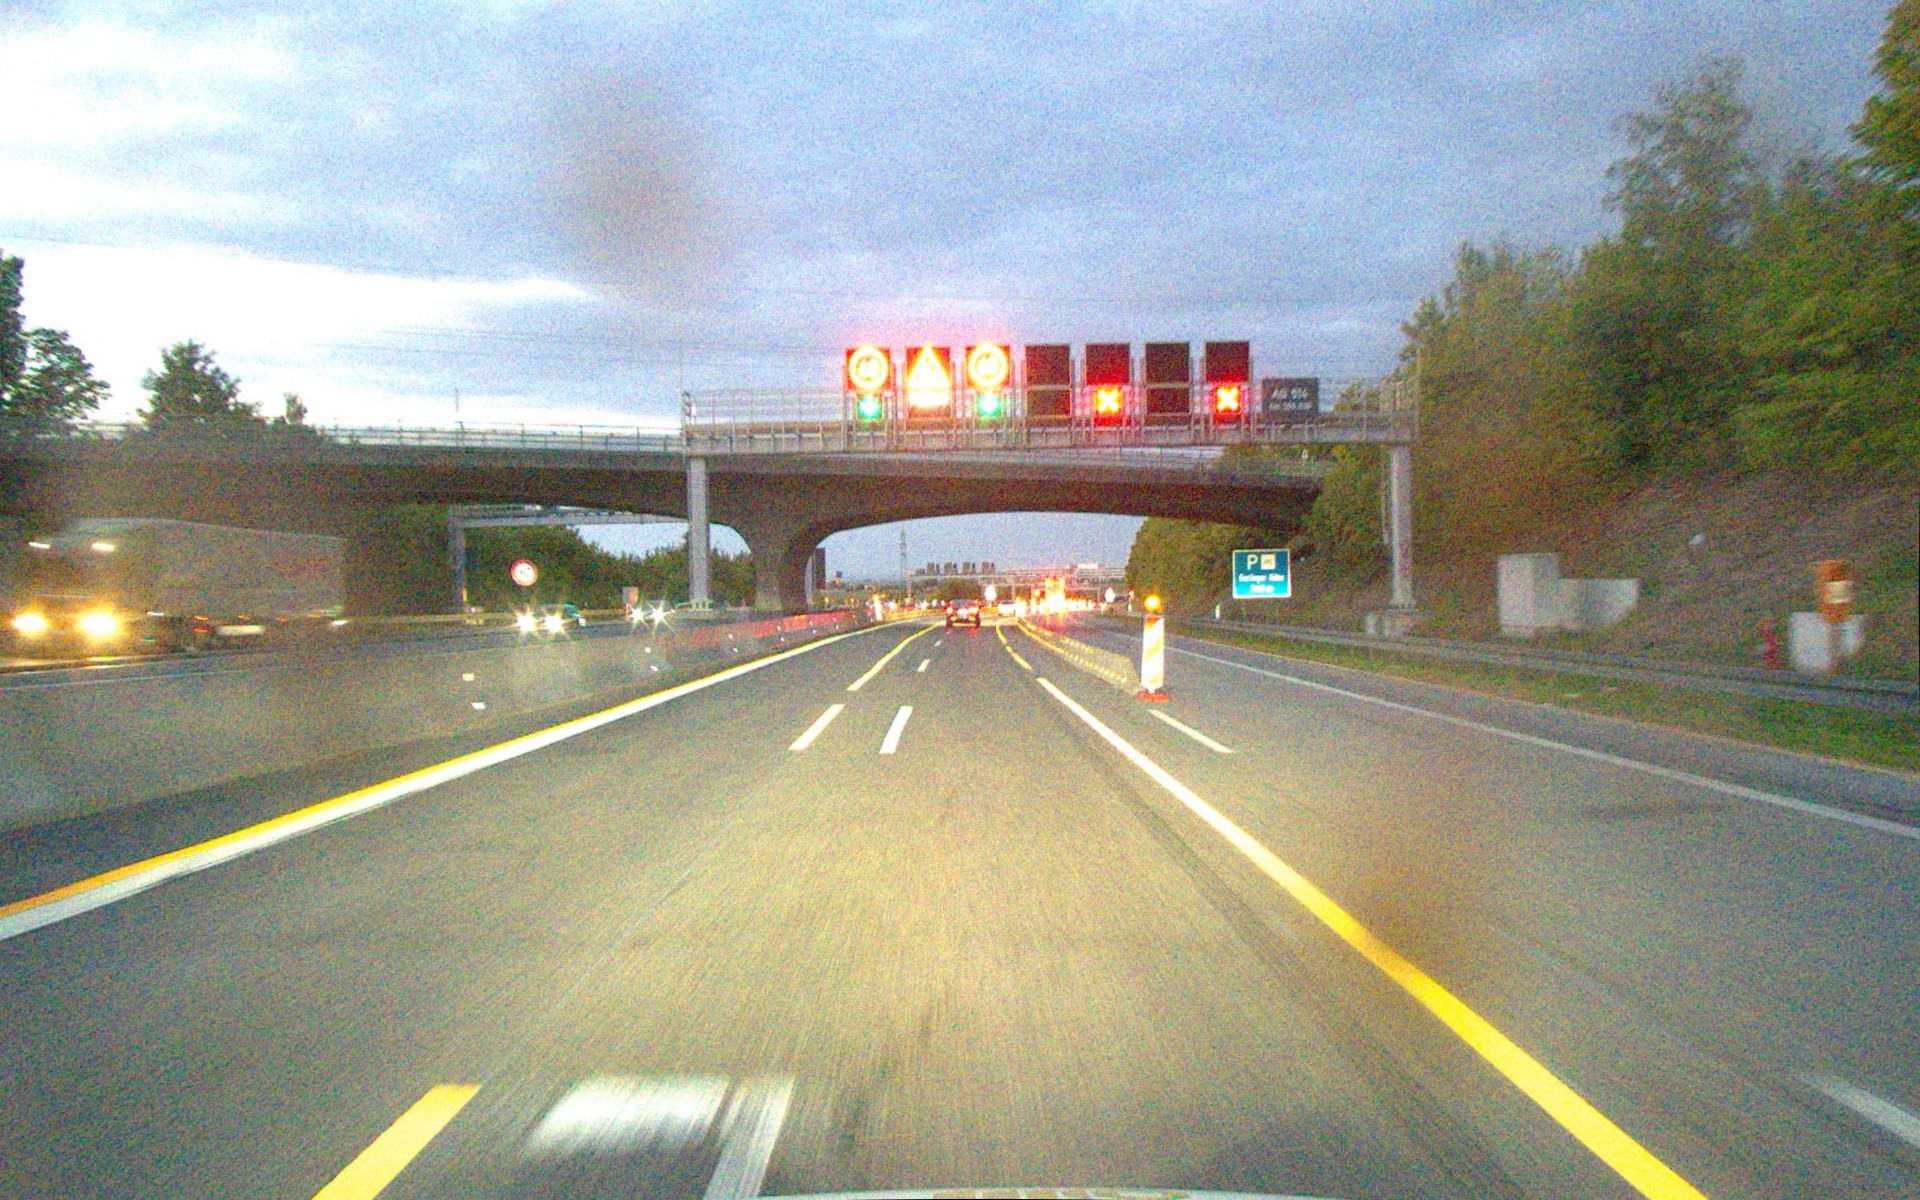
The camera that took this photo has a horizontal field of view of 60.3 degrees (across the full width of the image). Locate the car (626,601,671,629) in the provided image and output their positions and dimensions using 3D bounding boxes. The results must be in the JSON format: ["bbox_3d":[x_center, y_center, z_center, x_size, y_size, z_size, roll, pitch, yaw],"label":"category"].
[{"bbox_3d":[-19.936,0.931,106.108,1.953,1.703,4.582,1,0,0],"label":"car"}]

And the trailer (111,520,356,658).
[{"bbox_3d":[-25.228,-0.303,58.488,2.721,4.279,12.404,1,0,2],"label":"trailer"}]

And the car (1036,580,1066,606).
[{"bbox_3d":[12.807,-0.966,233.025,3.532,3.455,8.012,1,0,-1],"label":"car"}]

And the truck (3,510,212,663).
[{"bbox_3d":[-25.491,-0.363,49.846,2.719,4.244,6.387,1,0,2],"label":"truck"}]

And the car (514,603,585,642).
[{"bbox_3d":[-18.685,1.017,75.486,1.952,1.705,4.516,1,0,2],"label":"car"}]

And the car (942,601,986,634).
[{"bbox_3d":[0.242,0.923,88.913,2.218,1.650,4.000,1,0,1],"label":"car"}]

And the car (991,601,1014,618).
[{"bbox_3d":[3.817,0.857,149.328,1.930,1.462,4.001,1,0,3],"label":"car"}]
